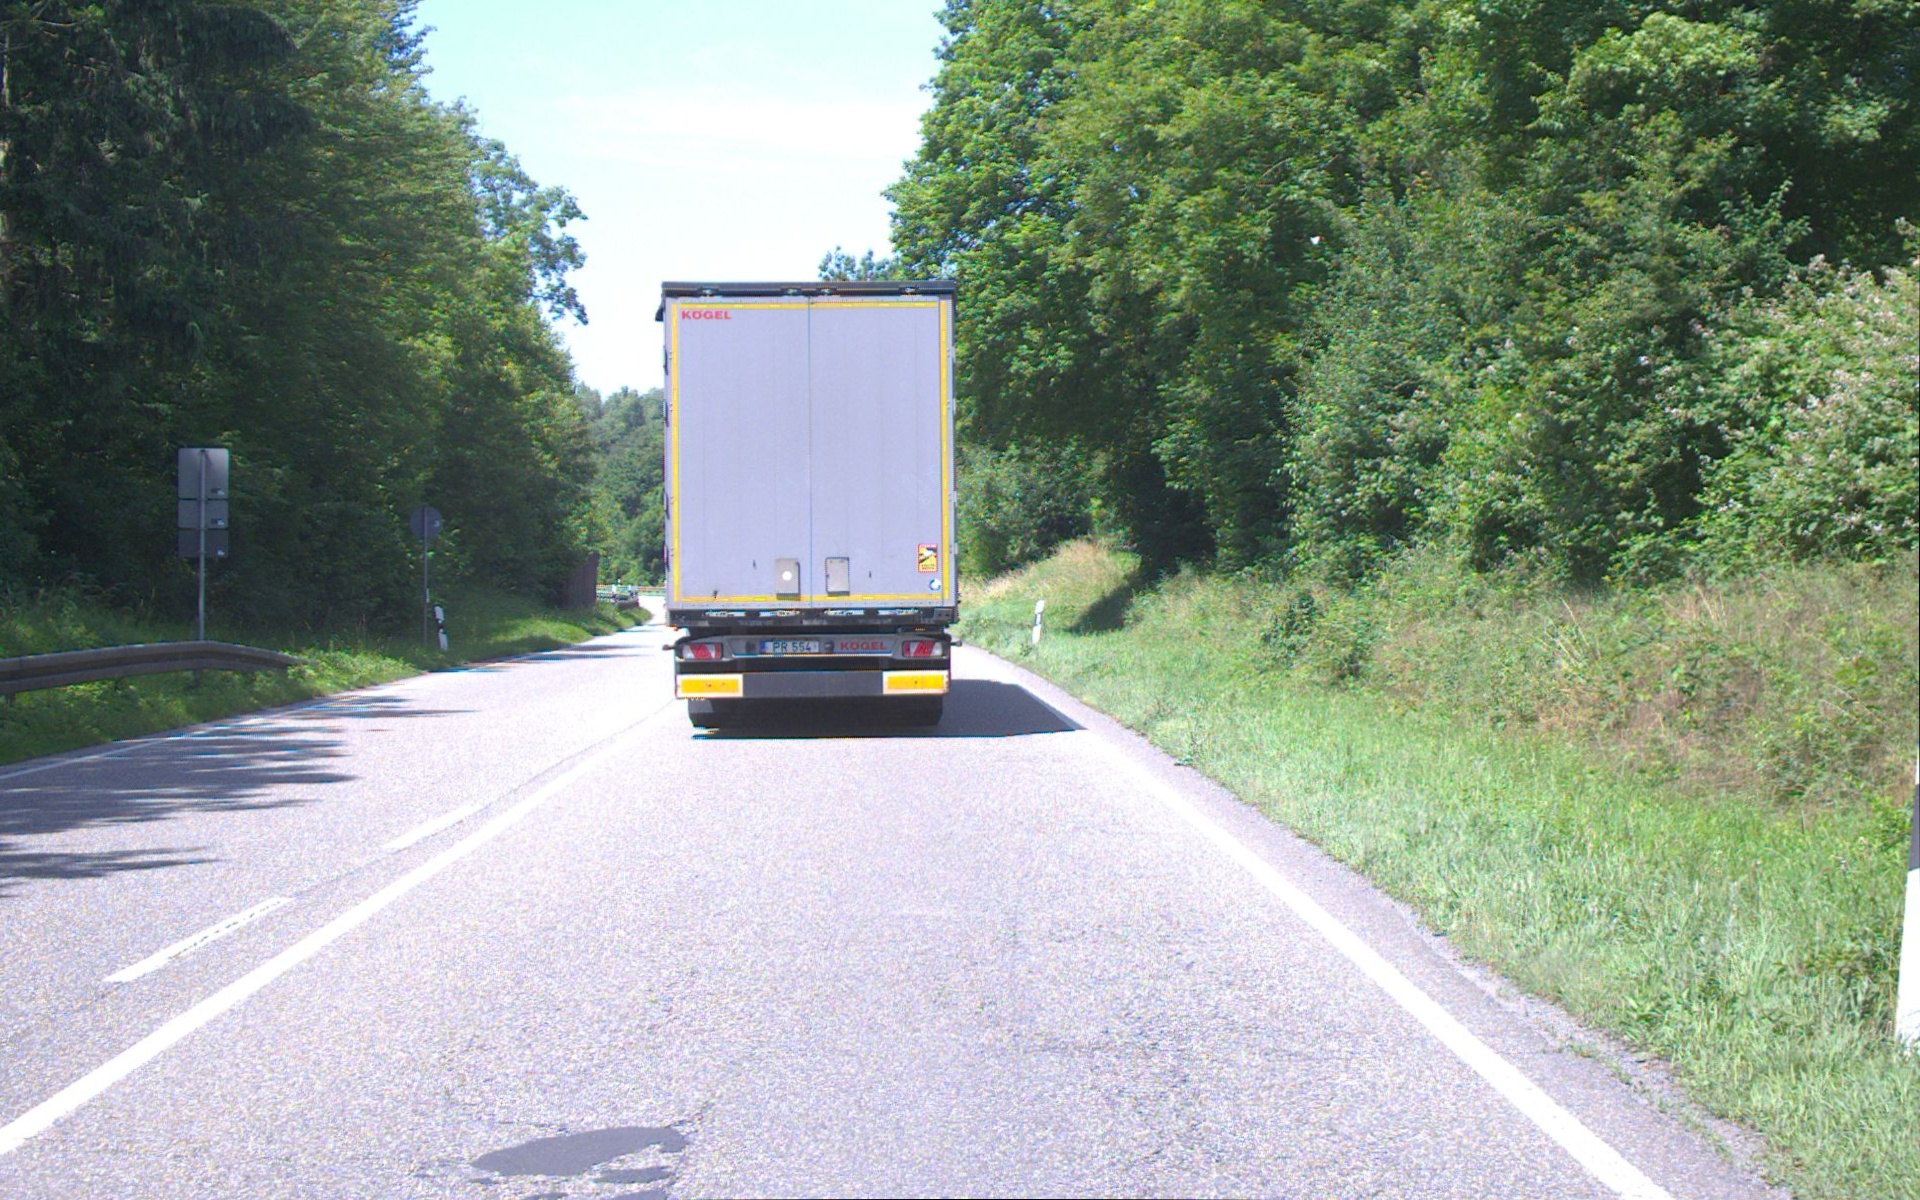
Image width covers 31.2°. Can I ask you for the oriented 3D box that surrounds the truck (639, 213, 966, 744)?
[{"bbox_3d":[-1.386,-1.077,33.046,2.822,4.588,6.665,0,0,0],"label":"truck"}]
